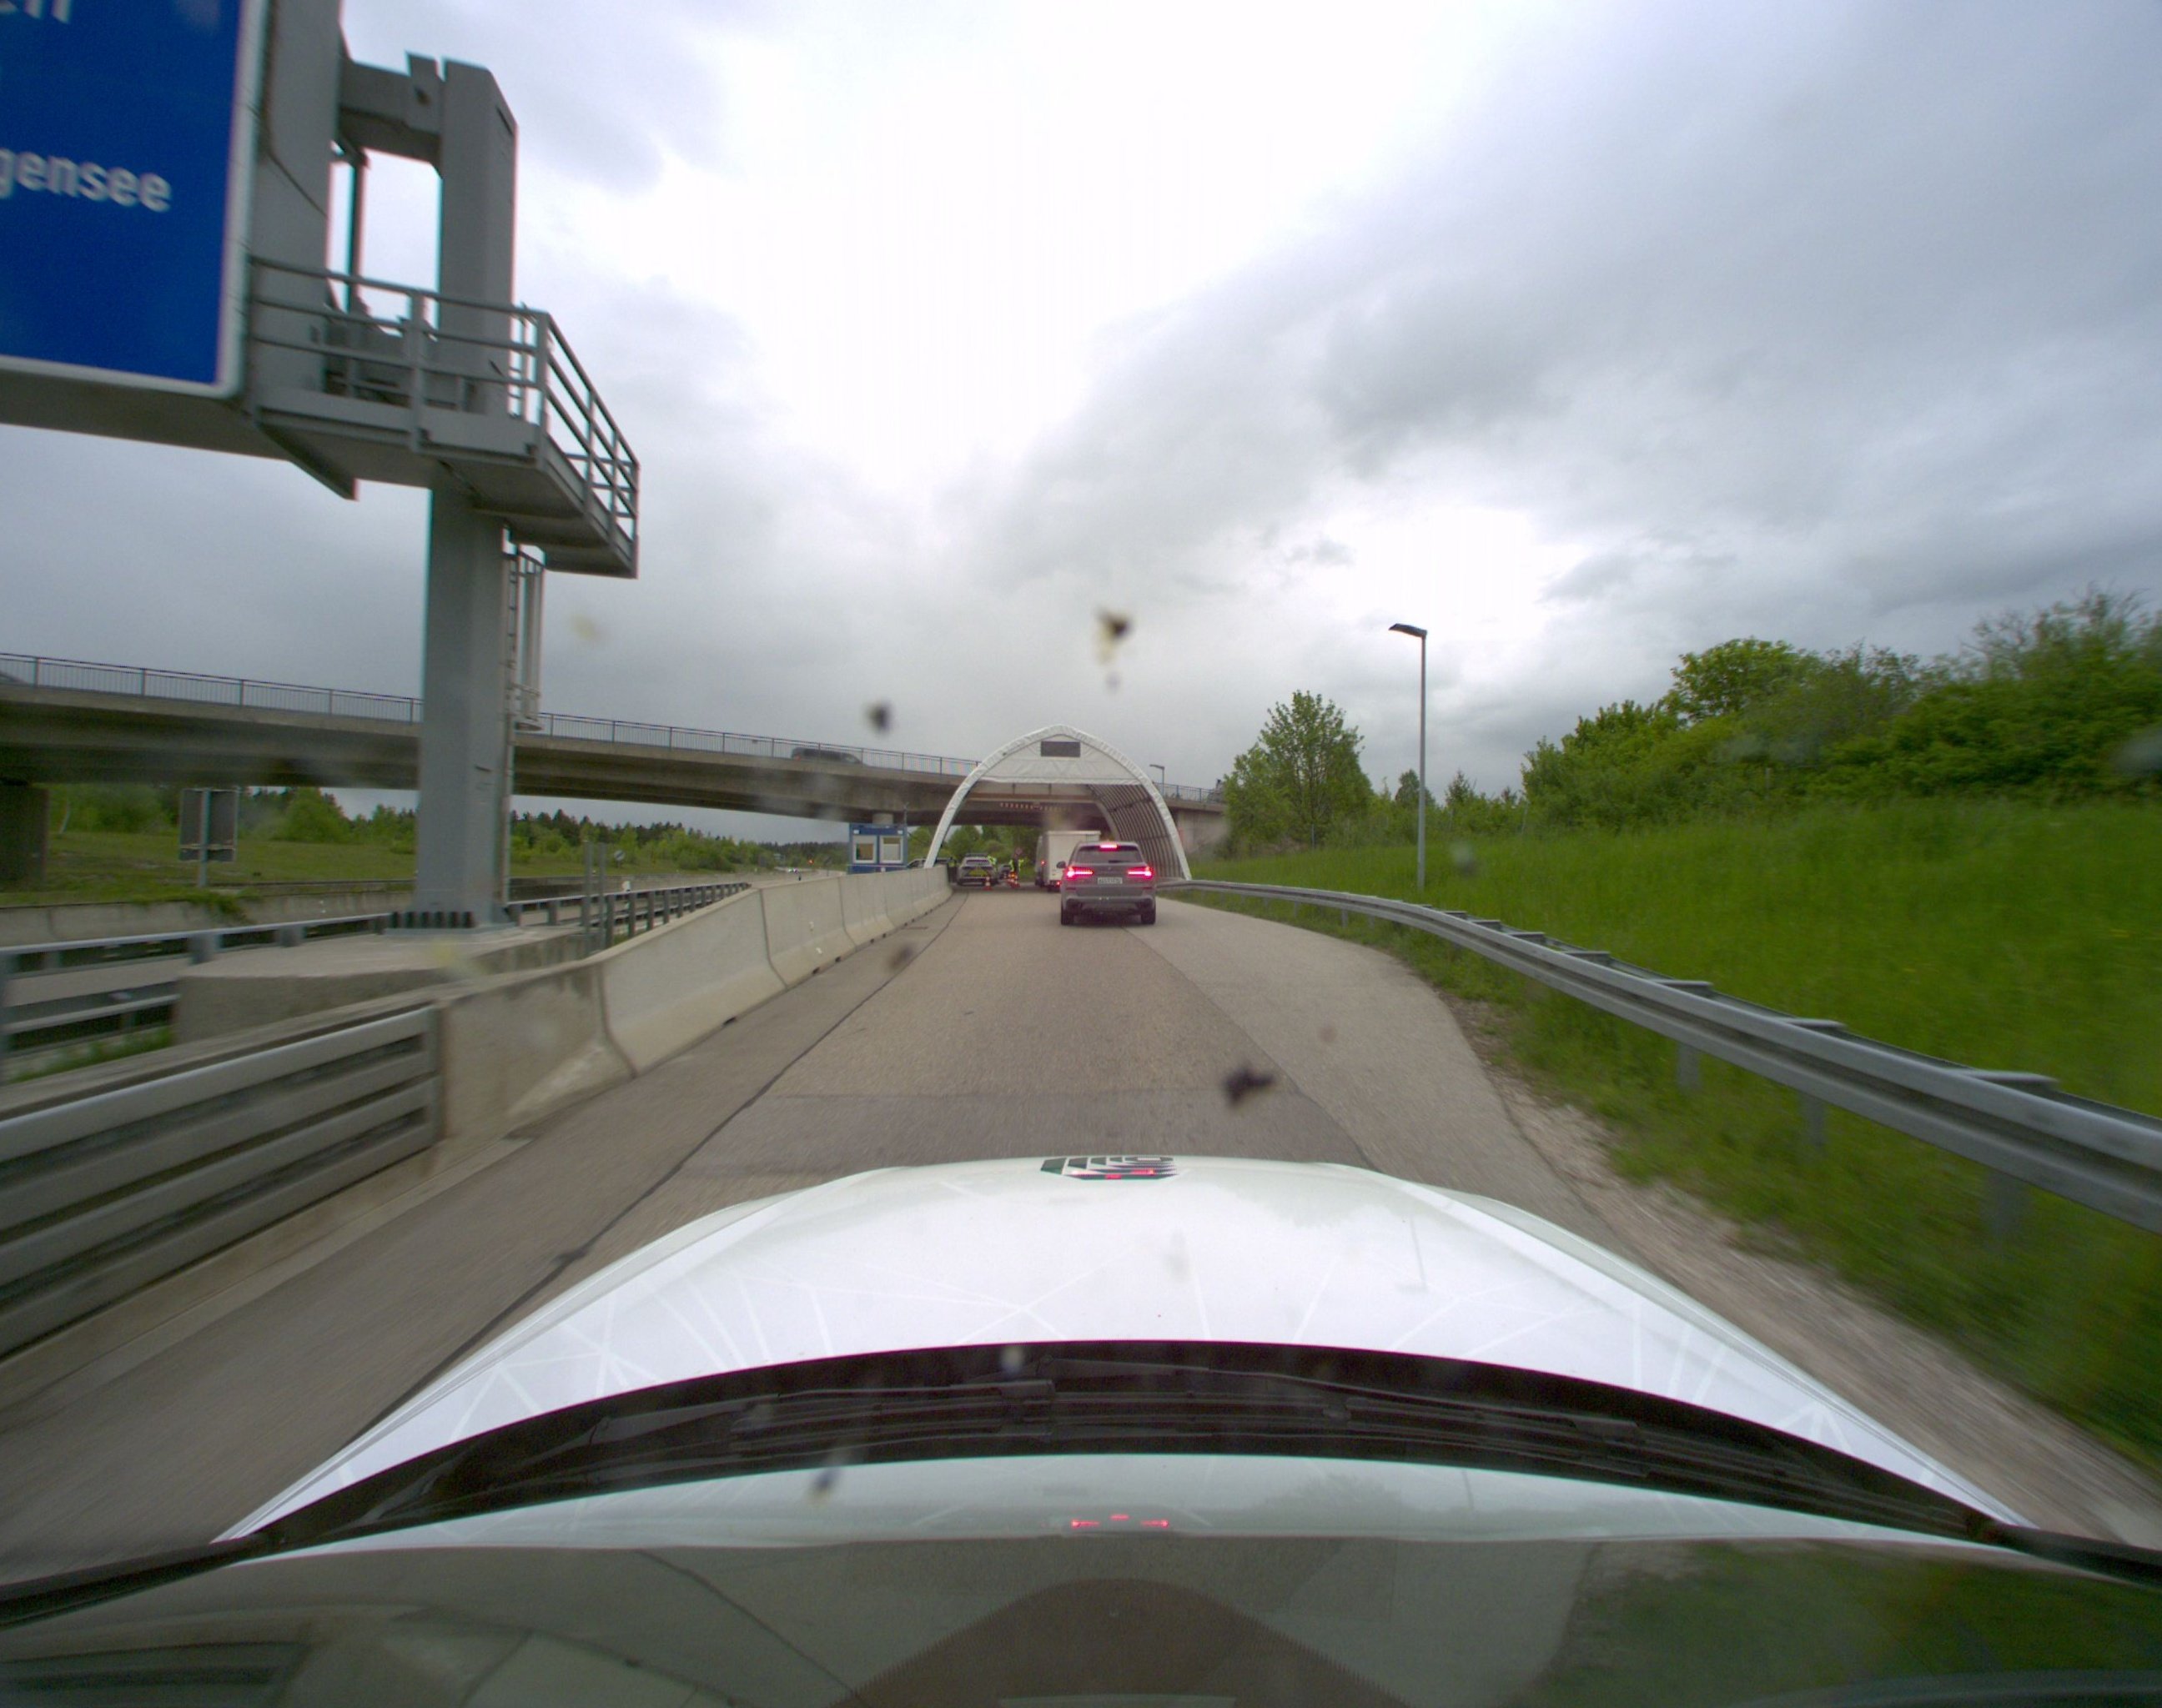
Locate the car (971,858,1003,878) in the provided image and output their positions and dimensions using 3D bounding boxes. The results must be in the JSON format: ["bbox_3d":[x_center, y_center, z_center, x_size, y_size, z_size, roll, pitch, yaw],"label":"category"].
[{"bbox_3d":[-9.769,1.442,84.575,2.005,2.014,3.963,0,-1,-29],"label":"car"}]

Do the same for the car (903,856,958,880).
[{"bbox_3d":[-12.142,1.111,65.738,3.967,1.854,1.712,-1,-1,6],"label":"car"}]

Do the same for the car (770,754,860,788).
[{"bbox_3d":[-16.589,-5.145,50.932,4.961,1.648,1.978,0,-1,-36],"label":"car"}]

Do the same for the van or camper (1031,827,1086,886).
[{"bbox_3d":[-1.229,0.186,41.494,2.155,2.764,5.854,0,-1,-8],"label":"van or camper"}]

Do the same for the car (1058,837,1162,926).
[{"bbox_3d":[0.507,0.562,17.953,1.989,1.720,3.996,0,-1,-3],"label":"car"}]

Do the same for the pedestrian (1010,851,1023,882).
[{"bbox_3d":[-3.724,0.705,46.925,0.648,1.775,0.603,-1,-1,-11],"label":"pedestrian"}]

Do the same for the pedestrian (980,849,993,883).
[{"bbox_3d":[-5.402,0.674,46.617,0.720,1.945,0.688,-1,-1,-9],"label":"pedestrian"}]

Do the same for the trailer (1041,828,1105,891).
[{"bbox_3d":[-0.471,0.303,35.175,2.275,2.431,6.804,0,-1,-5],"label":"trailer"}]

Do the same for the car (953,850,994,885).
[{"bbox_3d":[-5.743,0.704,43.081,1.993,1.772,3.753,-1,-1,-10],"label":"car"}]

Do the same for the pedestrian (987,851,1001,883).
[{"bbox_3d":[-4.881,0.733,45.565,0.720,1.775,0.688,-1,-1,-9],"label":"pedestrian"}]

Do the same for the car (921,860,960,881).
[{"bbox_3d":[-10.029,1.167,58.088,1.526,1.442,3.280,0,-1,-35],"label":"car"}]

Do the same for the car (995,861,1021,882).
[{"bbox_3d":[-6.780,1.640,75.227,1.706,1.854,3.980,-1,-1,-14],"label":"car"}]
